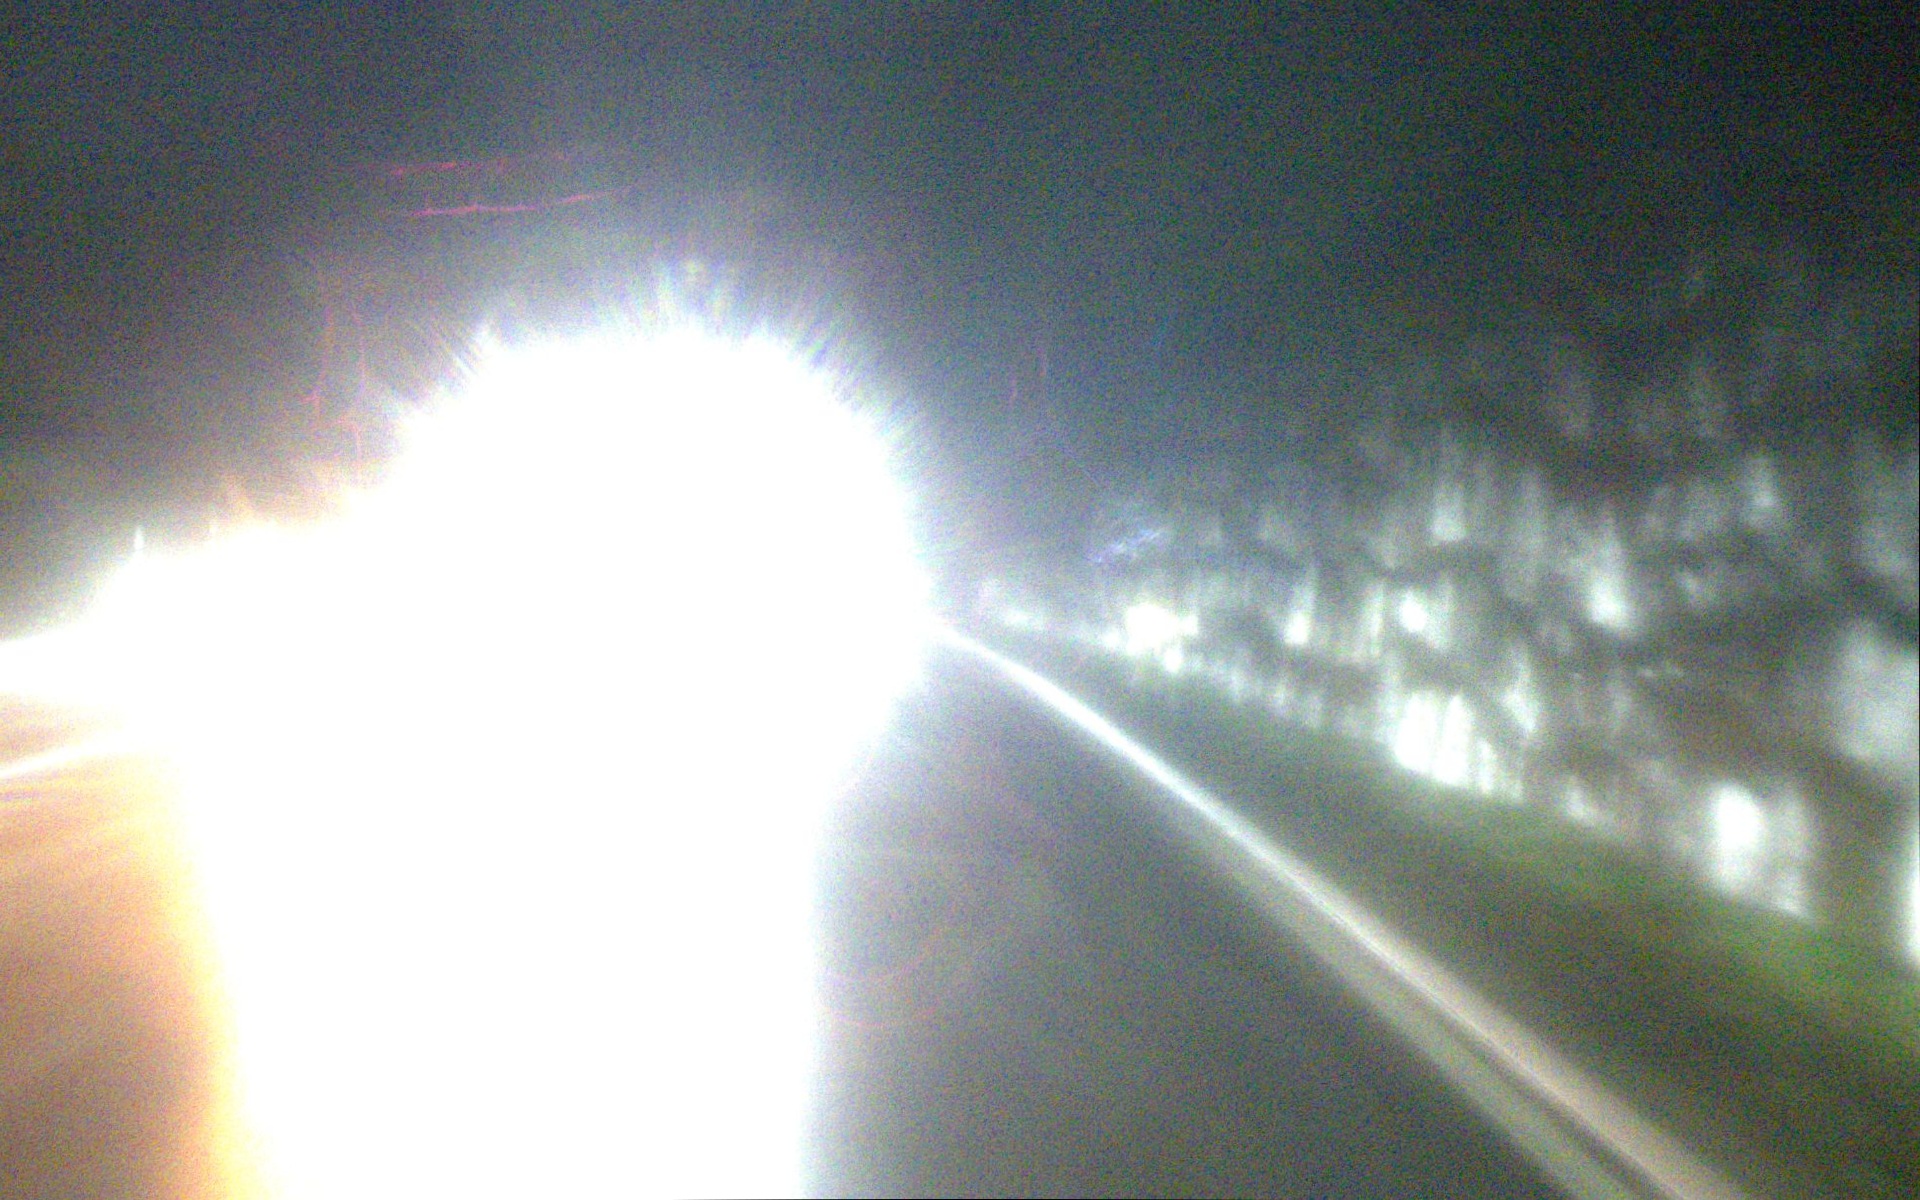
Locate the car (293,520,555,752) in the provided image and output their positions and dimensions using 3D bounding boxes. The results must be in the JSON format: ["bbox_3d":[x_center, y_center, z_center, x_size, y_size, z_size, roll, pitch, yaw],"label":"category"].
[{"bbox_3d":[-4.479,0.253,29.195,1.742,1.817,3.878,1,1,-2],"label":"car"}]

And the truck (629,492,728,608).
[{"bbox_3d":[-6.396,-1.151,78.656,2.137,2.526,5.280,1,1,-4],"label":"truck"}]

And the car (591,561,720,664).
[{"bbox_3d":[-4.936,0.171,56.169,1.885,1.570,4.050,1,1,-2],"label":"car"}]
